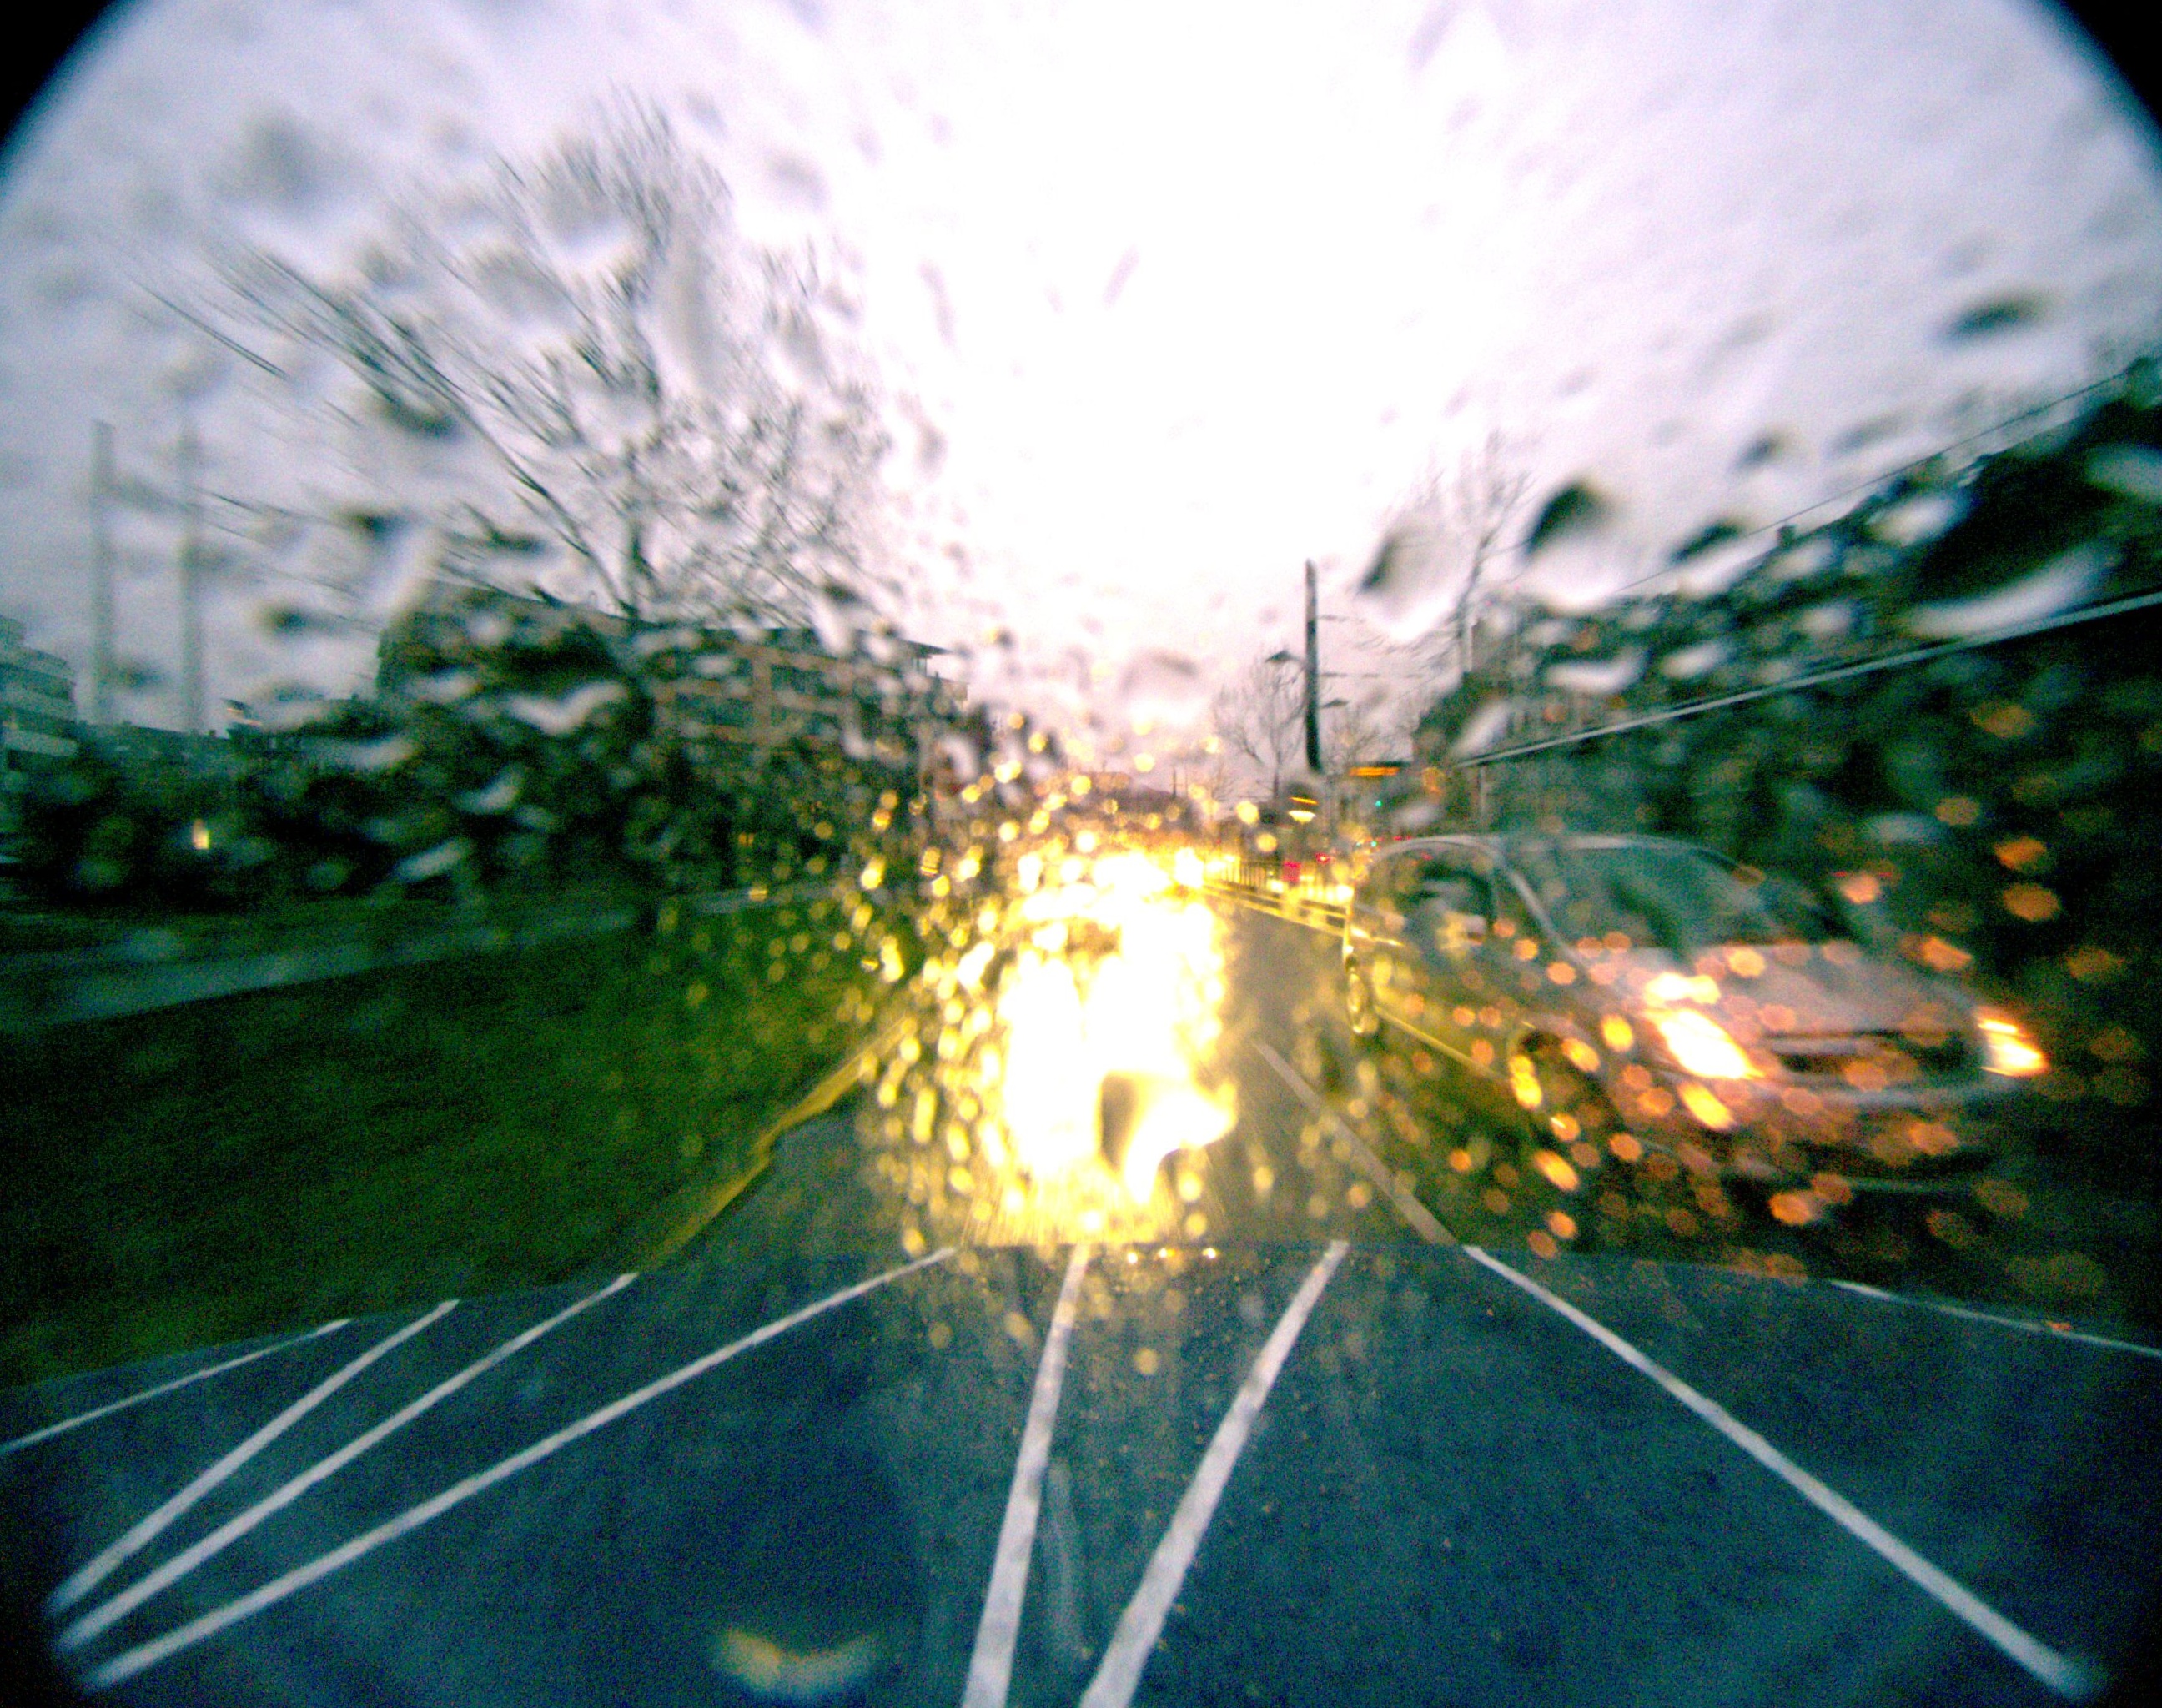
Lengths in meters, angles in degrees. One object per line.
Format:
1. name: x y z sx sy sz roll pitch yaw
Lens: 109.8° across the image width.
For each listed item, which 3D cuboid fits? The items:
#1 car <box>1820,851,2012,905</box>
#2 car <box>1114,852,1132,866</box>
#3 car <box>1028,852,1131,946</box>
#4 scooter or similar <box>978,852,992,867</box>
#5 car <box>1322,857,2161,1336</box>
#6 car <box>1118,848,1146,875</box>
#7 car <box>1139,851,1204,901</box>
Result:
1. car: 24.975 0.656 22.949 1.658 1.481 3.767 1 0 1
2. car: 3.988 0.450 72.249 1.618 1.259 4.001 1 0 3
3. car: 0.096 0.776 14.955 1.649 1.575 3.806 -1 1 5
4. scooter or similar: -8.094 0.484 63.869 1.146 1.224 0.487 0 1 -15
5. car: 2.899 0.815 4.557 1.649 1.539 4.109 0 0 1
6. car: 3.402 0.475 51.119 1.819 1.732 4.187 1 0 3
7. car: 2.995 0.683 25.909 1.753 1.535 4.000 1 0 1
